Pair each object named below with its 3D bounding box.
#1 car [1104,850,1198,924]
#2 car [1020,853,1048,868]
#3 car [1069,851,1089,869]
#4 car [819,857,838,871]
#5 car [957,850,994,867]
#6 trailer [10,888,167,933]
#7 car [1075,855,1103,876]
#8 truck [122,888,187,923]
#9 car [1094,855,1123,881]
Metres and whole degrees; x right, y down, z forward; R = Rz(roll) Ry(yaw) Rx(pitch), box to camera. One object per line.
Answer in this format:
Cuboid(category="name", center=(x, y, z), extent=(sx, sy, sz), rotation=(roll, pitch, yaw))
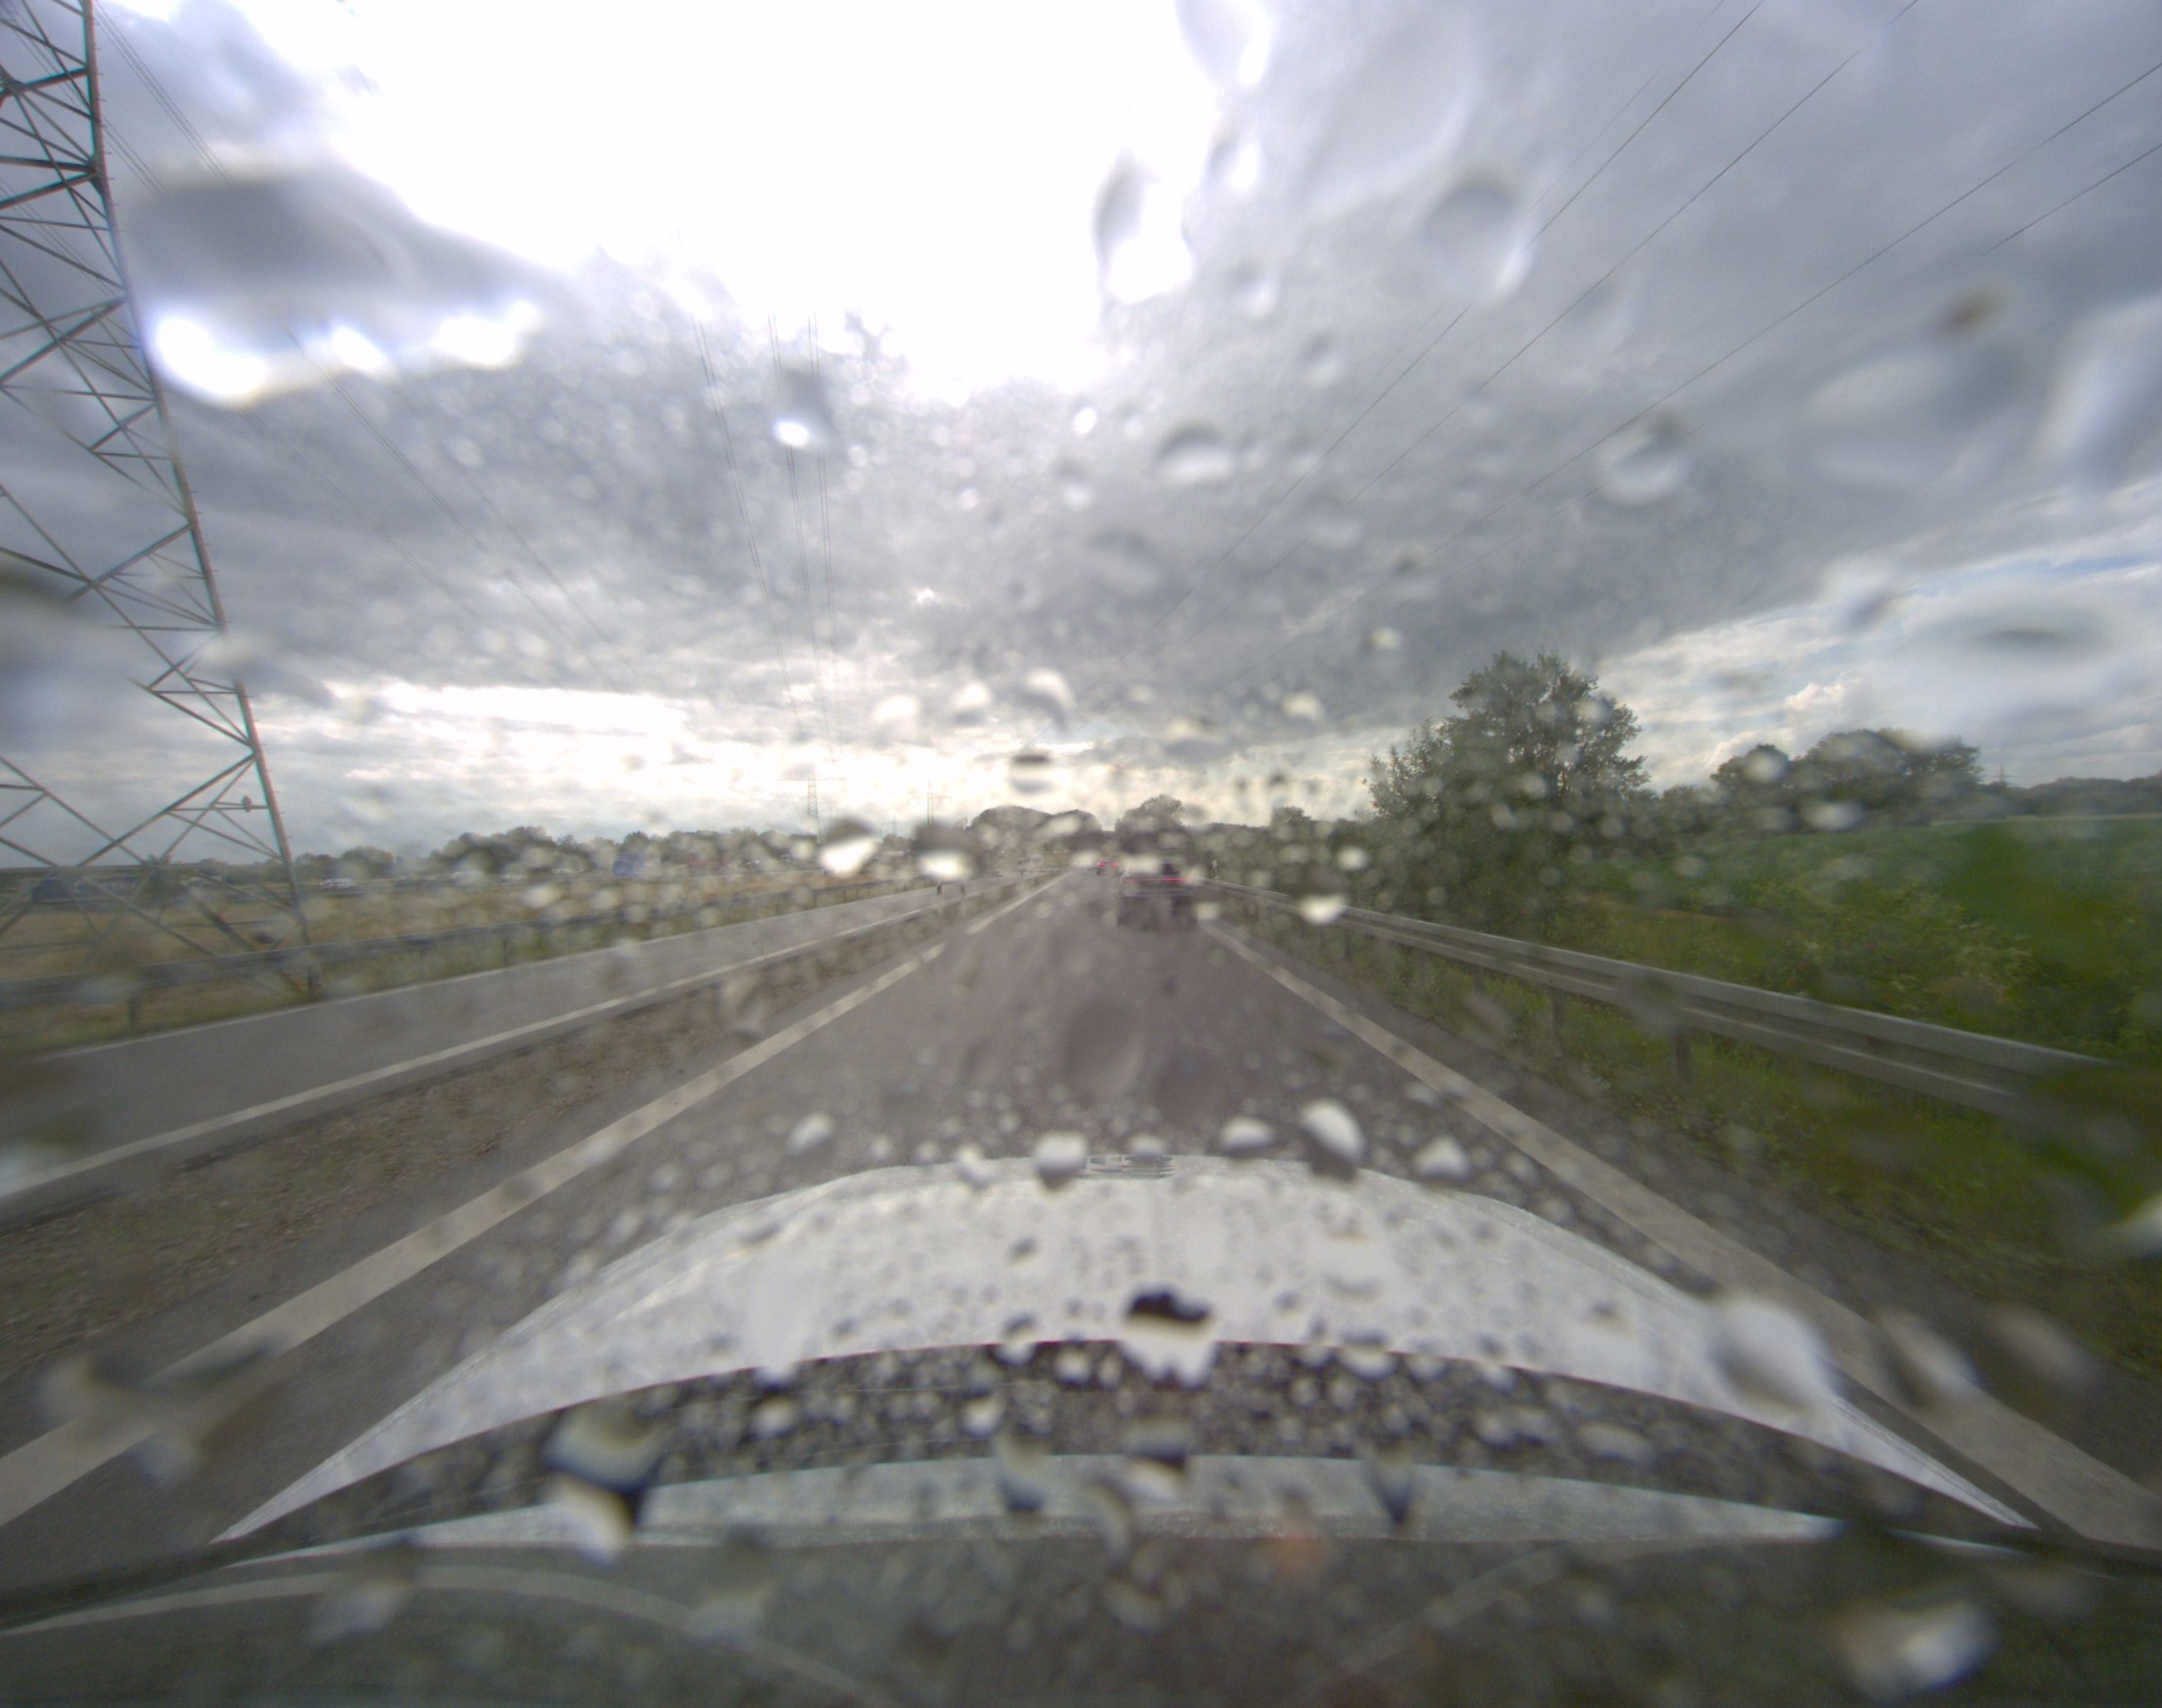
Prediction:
Cuboid(category="car", center=(1.640, 0.712, 19.618), extent=(1.985, 1.566, 4.153), rotation=(-1, 0, 4))
Cuboid(category="car", center=(-7.858, 1.065, 136.049), extent=(2.368, 2.306, 5.076), rotation=(-3, 3, -33))
Cuboid(category="car", center=(-0.276, 0.810, 118.830), extent=(2.348, 2.306, 5.118), rotation=(-2, 2, -6))
Cuboid(category="car", center=(-65.001, 2.579, 209.339), extent=(3.399, 3.610, 8.972), rotation=(-2, 0, -24))
Cuboid(category="car", center=(-19.915, 0.876, 153.888), extent=(3.165, 2.951, 7.121), rotation=(-4, 3, -44))
Cuboid(category="trailer", center=(-134.601, 7.548, 110.909), extent=(3.026, 4.634, 13.352), rotation=(-2, 2, 13))
Cuboid(category="car", center=(0.954, 1.439, 101.366), extent=(2.354, 2.306, 5.105), rotation=(-3, 2, -14))
Cuboid(category="truck", center=(-133.149, 7.303, 117.155), extent=(3.046, 4.479, 5.092), rotation=(-2, 2, 13))
Cuboid(category="car", center=(2.306, 1.179, 69.995), extent=(2.115, 2.018, 5.531), rotation=(-2, 0, -2))
